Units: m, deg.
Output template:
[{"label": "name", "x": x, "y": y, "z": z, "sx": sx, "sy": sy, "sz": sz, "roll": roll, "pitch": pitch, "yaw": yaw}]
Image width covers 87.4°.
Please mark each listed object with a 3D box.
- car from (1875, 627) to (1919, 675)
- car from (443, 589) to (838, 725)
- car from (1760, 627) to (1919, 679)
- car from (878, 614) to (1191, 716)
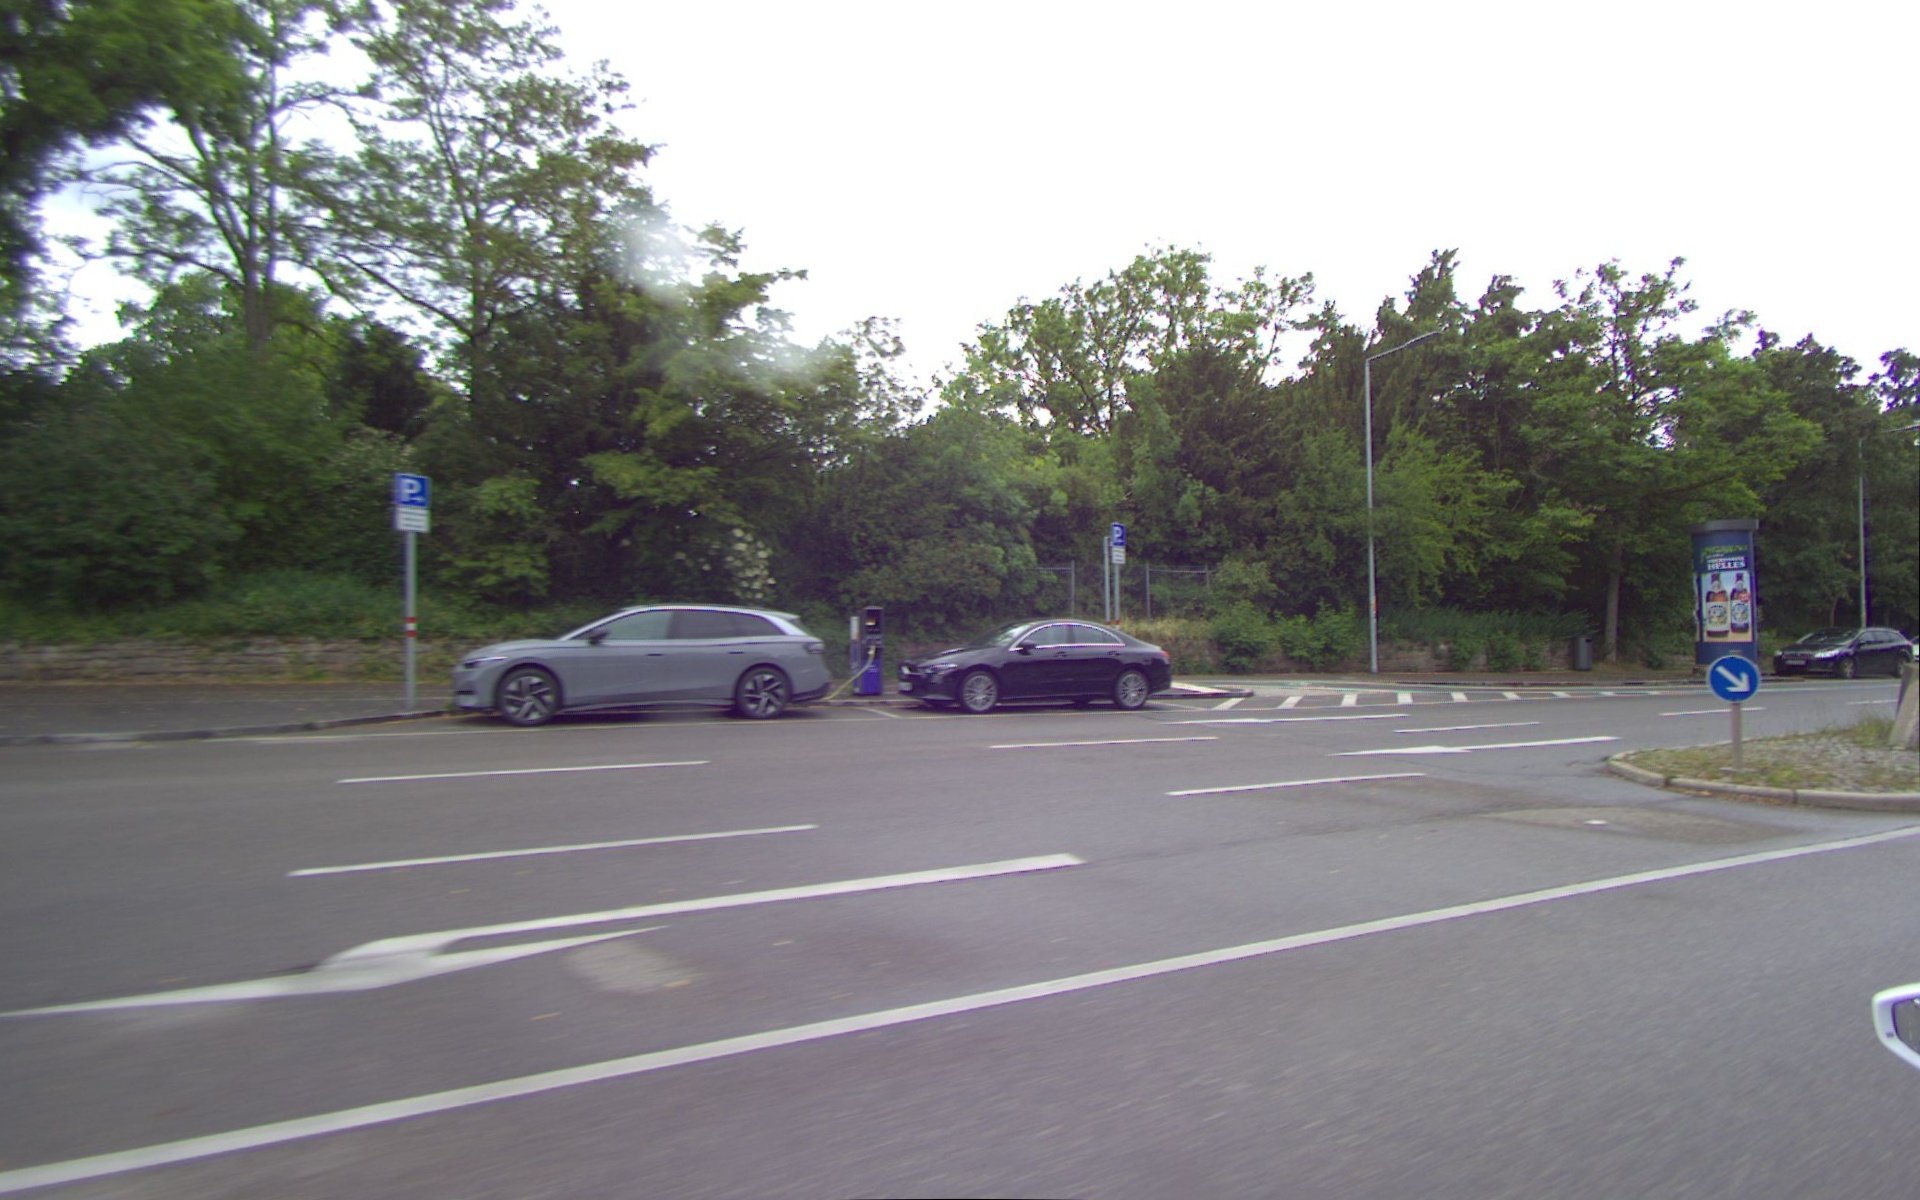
[{"label": "car", "x": 31.480, "y": 1.603, "z": 32.010, "sx": 4.642, "sy": 1.479, "sz": 1.714, "roll": 1, "pitch": -2, "yaw": -24}, {"label": "car", "x": -4.288, "y": 0.750, "z": 13.786, "sx": 4.861, "sy": 1.610, "sz": 1.836, "roll": 2, "pitch": -1, "yaw": -25}, {"label": "car", "x": 26.180, "y": 1.533, "z": 29.855, "sx": 4.519, "sy": 1.464, "sz": 1.746, "roll": 1, "pitch": -1, "yaw": -22}, {"label": "car", "x": 1.223, "y": 1.010, "z": 16.205, "sx": 4.718, "sy": 1.433, "sz": 1.901, "roll": 2, "pitch": -1, "yaw": -25}]
